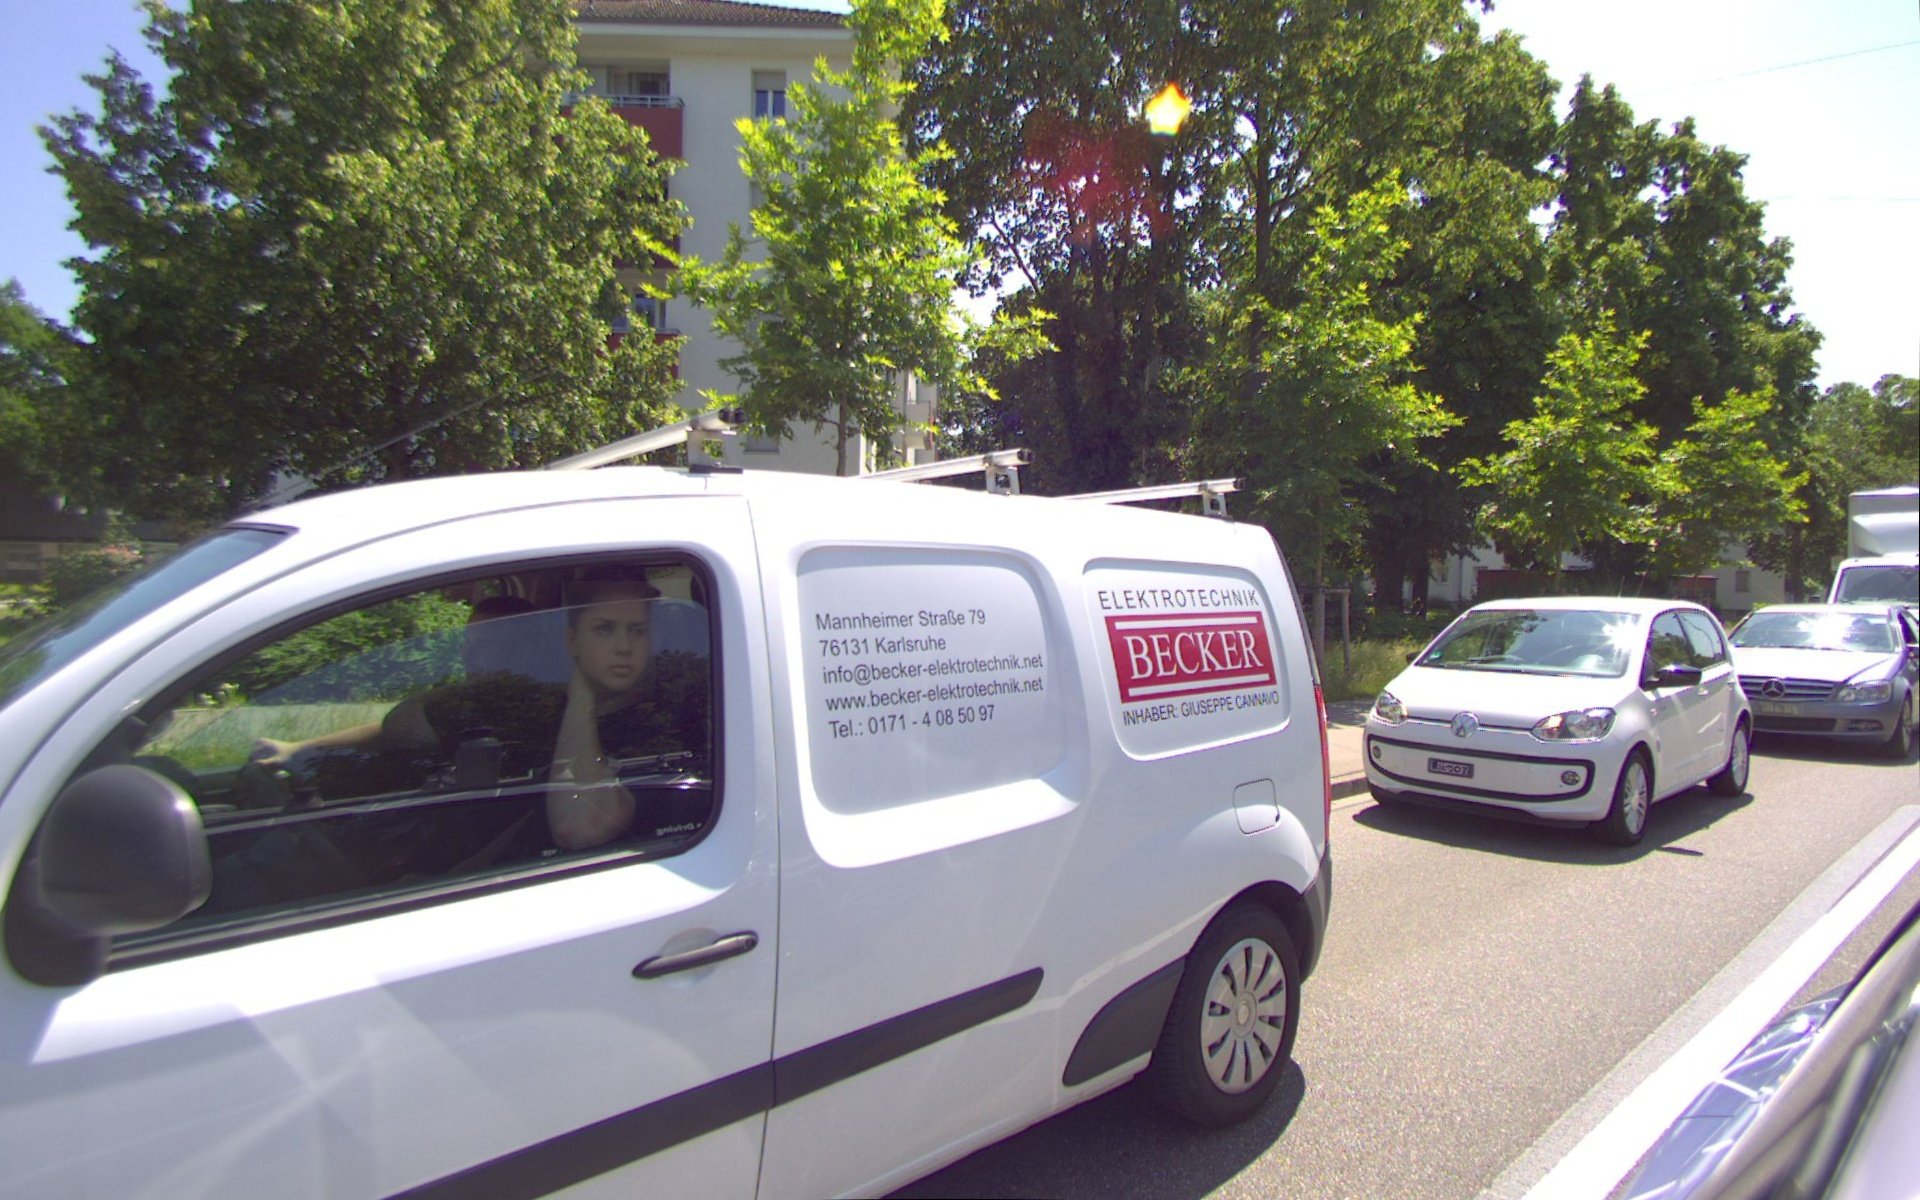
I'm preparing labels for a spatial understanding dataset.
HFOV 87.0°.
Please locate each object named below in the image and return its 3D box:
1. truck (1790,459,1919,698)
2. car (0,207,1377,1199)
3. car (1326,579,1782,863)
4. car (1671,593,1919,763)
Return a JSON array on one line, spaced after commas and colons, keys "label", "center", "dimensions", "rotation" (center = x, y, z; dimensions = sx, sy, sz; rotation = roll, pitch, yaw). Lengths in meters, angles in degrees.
[{"label": "truck", "center": [16.521, -0.317, 16.978], "dimensions": [7.778, 3.387, 2.434], "rotation": [0, 1, -39]}, {"label": "car", "center": [-0.987, 0.460, 2.536], "dimensions": [4.370, 1.849, 1.997], "rotation": [0, 1, -41]}, {"label": "car", "center": [4.405, 0.632, 7.291], "dimensions": [3.705, 1.497, 1.729], "rotation": [0, 1, -41]}, {"label": "car", "center": [9.238, 0.668, 10.742], "dimensions": [4.016, 1.426, 1.839], "rotation": [0, 1, -41]}]
